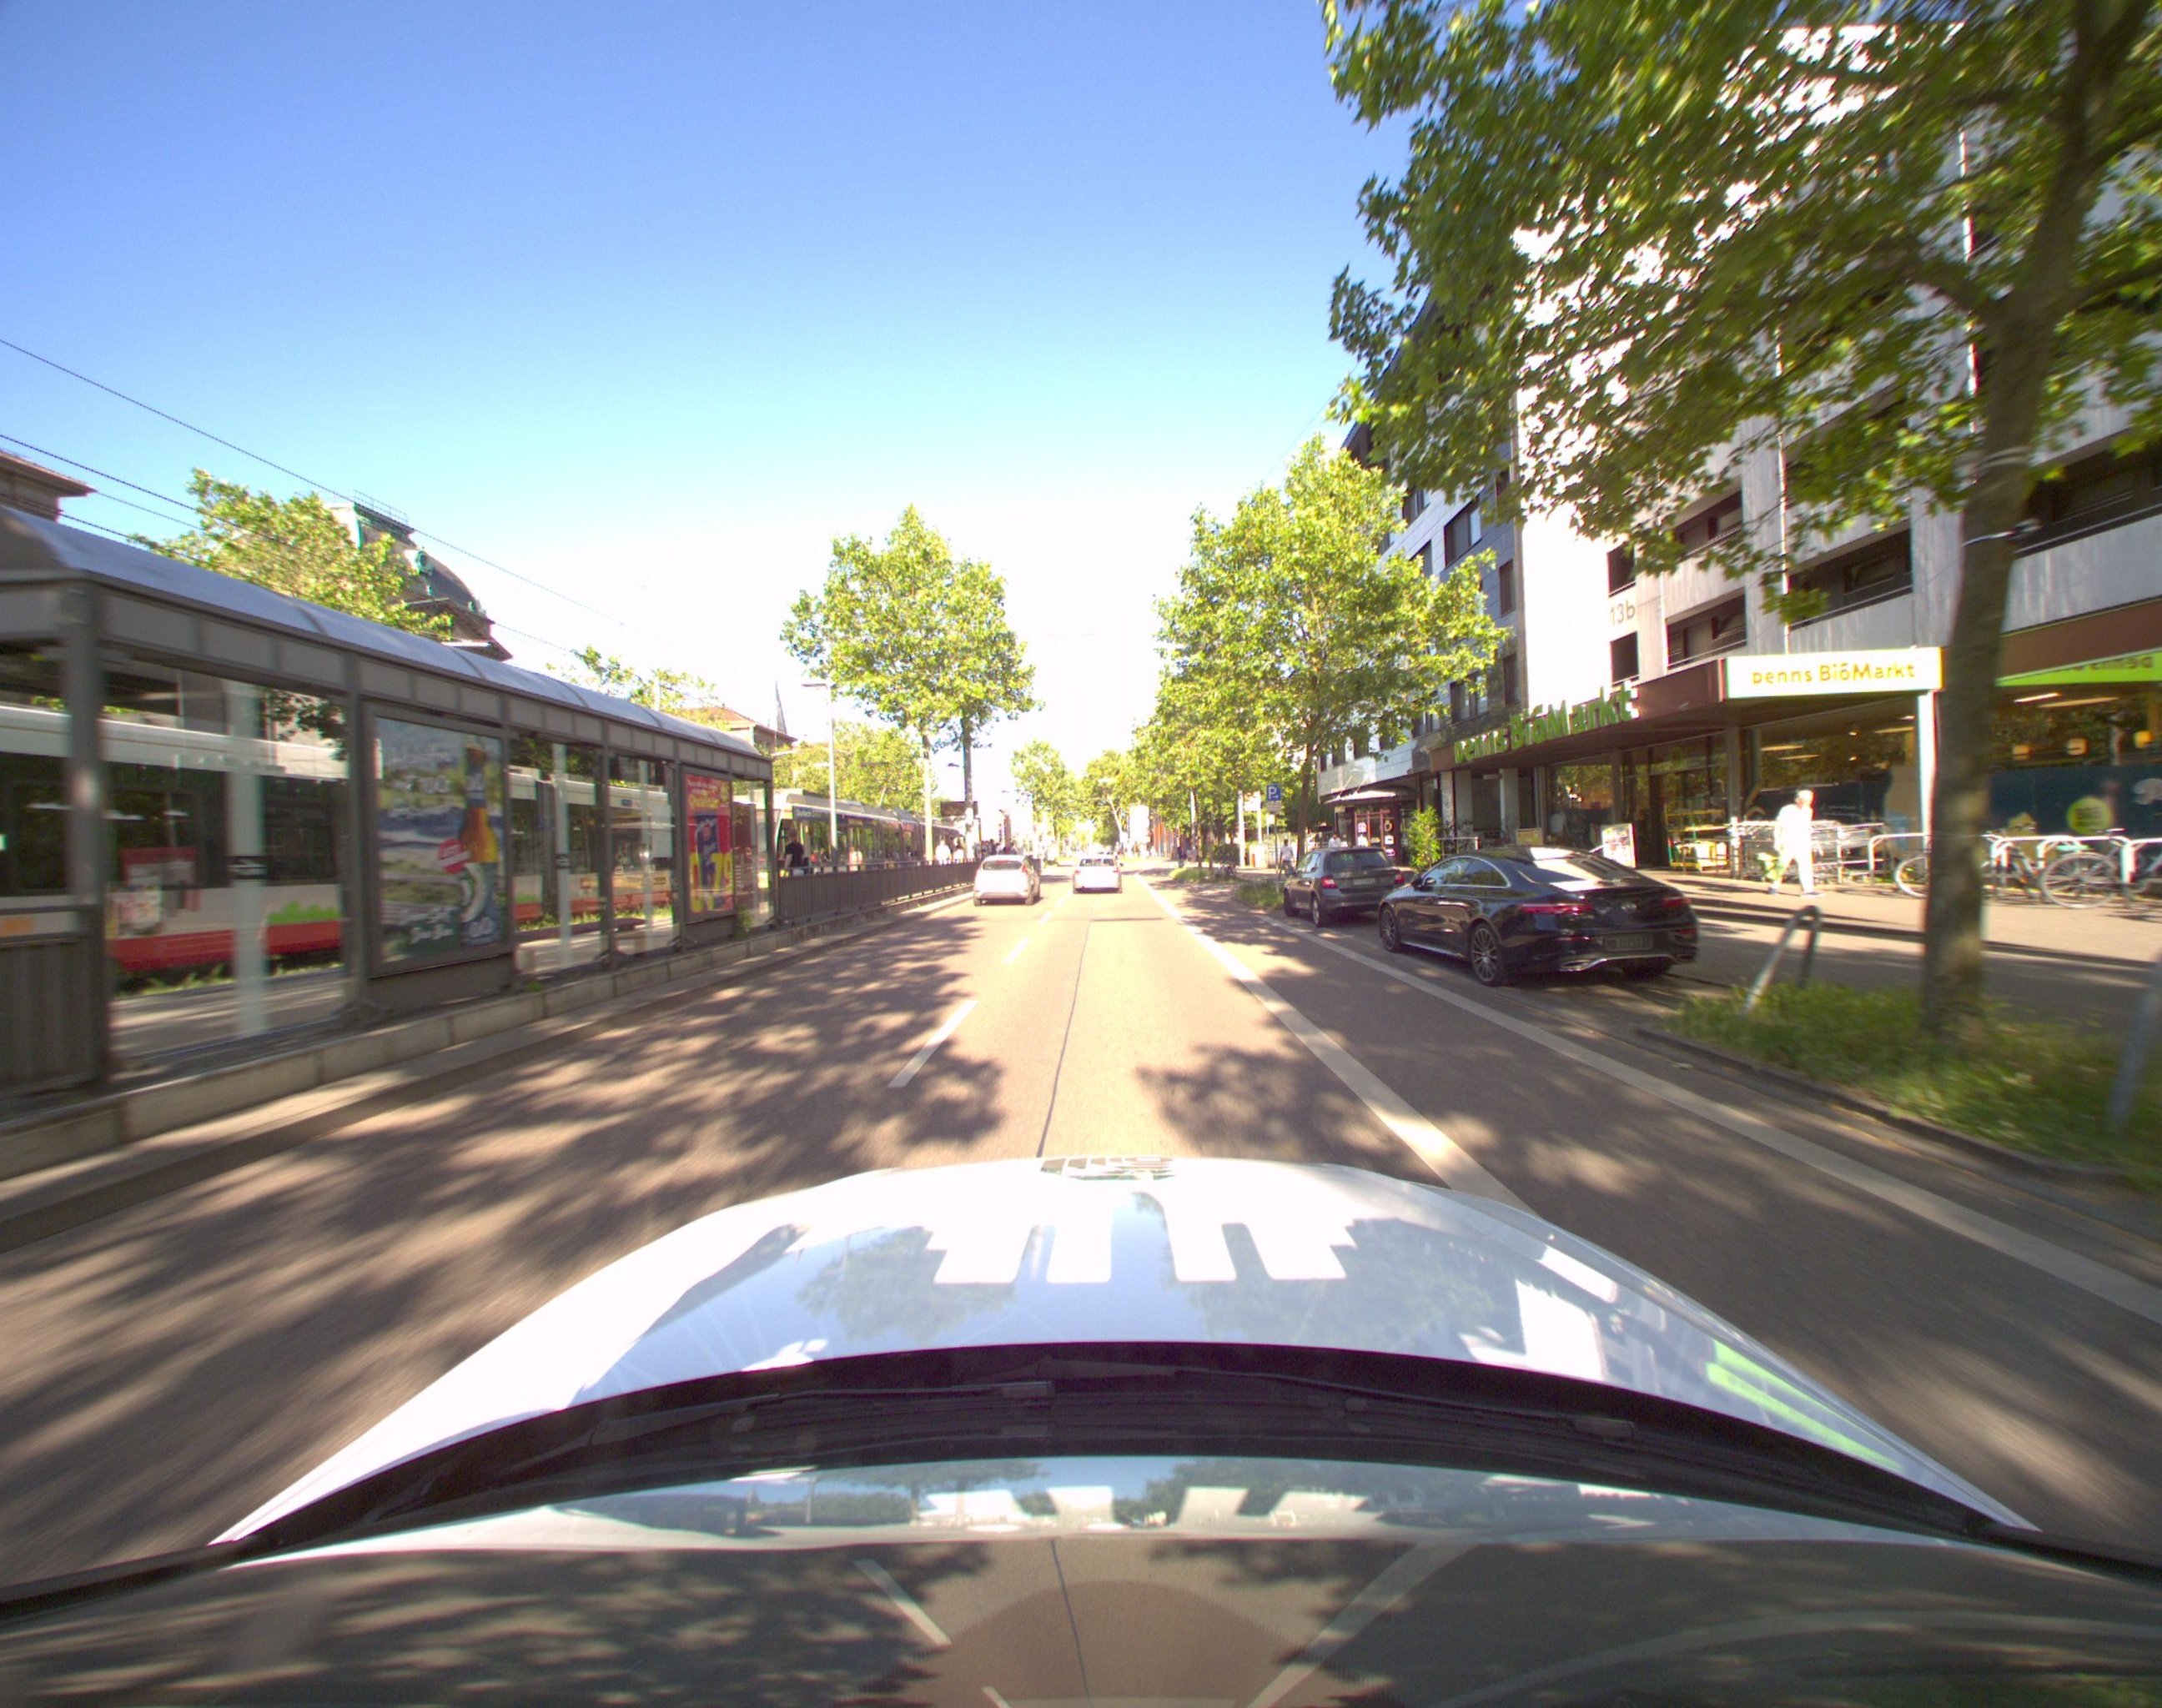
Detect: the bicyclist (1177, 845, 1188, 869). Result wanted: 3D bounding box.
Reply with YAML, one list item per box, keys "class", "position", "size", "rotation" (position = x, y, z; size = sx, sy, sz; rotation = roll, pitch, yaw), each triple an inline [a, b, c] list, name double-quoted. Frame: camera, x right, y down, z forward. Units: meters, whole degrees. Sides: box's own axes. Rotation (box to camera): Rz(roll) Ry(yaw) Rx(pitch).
- class: "bicyclist"
  position: [7.408, 0.210, 59.319]
  size: [0.654, 1.657, 0.767]
  rotation: [-3, 0, 10]

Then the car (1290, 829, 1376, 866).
- class: "car"
  position: [16.356, -0.408, 53.019]
  size: [4.879, 1.984, 1.914]
  rotation: [-5, 0, 1]

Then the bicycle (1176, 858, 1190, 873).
- class: "bicycle"
  position: [7.441, 0.839, 59.226]
  size: [0.826, 1.041, 1.880]
  rotation: [-3, 0, 11]

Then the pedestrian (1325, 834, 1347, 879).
- class: "pedestrian"
  position: [10.056, 0.100, 32.152]
  size: [0.558, 1.744, 0.879]
  rotation: [-3, 0, 1]

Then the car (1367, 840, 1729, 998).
- class: "car"
  position: [5.125, 0.600, 9.852]
  size: [1.755, 1.418, 4.701]
  rotation: [-1, 0, 1]

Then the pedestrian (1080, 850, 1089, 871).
- class: "pedestrian"
  position: [0.300, 0.541, 64.371]
  size: [0.637, 1.619, 0.641]
  rotation: [-2, -3, -2]

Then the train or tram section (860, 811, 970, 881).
- class: "train or tram section"
  position: [-8.614, -0.279, 44.425]
  size: [2.903, 3.260, 13.117]
  rotation: [0, -1, 2]

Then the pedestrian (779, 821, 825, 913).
- class: "pedestrian"
  position: [-5.089, 0.234, 14.869]
  size: [0.564, 1.640, 0.622]
  rotation: [-1, 0, 3]

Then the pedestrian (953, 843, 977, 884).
- class: "pedestrian"
  position: [-4.418, 0.349, 31.058]
  size: [0.773, 1.510, 0.751]
  rotation: [-3, 0, -2]

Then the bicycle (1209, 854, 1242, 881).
- class: "bicycle"
  position: [6.261, 0.573, 35.476]
  size: [0.788, 1.133, 1.839]
  rotation: [-2, 0, -11]

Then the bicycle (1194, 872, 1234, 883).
- class: "bicycle"
  position: [5.881, 1.036, 36.161]
  size: [1.602, 0.353, 1.389]
  rotation: [-2, 0, 2]

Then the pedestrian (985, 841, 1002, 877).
- class: "pedestrian"
  position: [-4.191, 0.241, 39.051]
  size: [0.658, 1.696, 0.571]
  rotation: [-2, 0, 2]

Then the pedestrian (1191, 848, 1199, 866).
- class: "pedestrian"
  position: [10.672, 0.282, 76.157]
  size: [0.622, 1.629, 0.946]
  rotation: [-1, 0, 10]

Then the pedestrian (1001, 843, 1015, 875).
- class: "pedestrian"
  position: [-4.060, 0.282, 45.235]
  size: [0.550, 1.734, 0.535]
  rotation: [-2, 0, -23]

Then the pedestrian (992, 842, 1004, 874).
- class: "pedestrian"
  position: [-4.432, 0.200, 43.534]
  size: [0.504, 1.702, 0.611]
  rotation: [-2, 0, -2]

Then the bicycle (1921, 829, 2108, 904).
- class: "bicycle"
  position: [13.237, 0.185, 11.611]
  size: [1.631, 0.916, 0.589]
  rotation: [-4, 2, 28]

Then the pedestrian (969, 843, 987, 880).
- class: "pedestrian"
  position: [-4.686, 0.324, 37.087]
  size: [0.658, 1.634, 0.571]
  rotation: [-2, 0, 2]

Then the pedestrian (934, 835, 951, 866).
- class: "pedestrian"
  position: [-5.820, -0.149, 34.257]
  size: [0.532, 1.299, 0.604]
  rotation: [-3, 0, -2]

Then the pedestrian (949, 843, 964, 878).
- class: "pedestrian"
  position: [-6.269, 0.337, 40.940]
  size: [0.607, 1.702, 0.545]
  rotation: [-2, 0, -3]

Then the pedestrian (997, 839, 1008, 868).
- class: "pedestrian"
  position: [-4.647, -0.028, 48.461]
  size: [0.546, 1.734, 0.539]
  rotation: [-2, 0, -2]

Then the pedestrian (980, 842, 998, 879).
- class: "pedestrian"
  position: [-4.290, 0.289, 37.902]
  size: [0.658, 1.696, 0.571]
  rotation: [-2, 0, 2]

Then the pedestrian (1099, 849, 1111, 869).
- class: "pedestrian"
  position: [1.938, 0.417, 65.291]
  size: [0.824, 1.575, 0.741]
  rotation: [-1, -1, 9]

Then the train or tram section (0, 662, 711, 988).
- class: "train or tram section"
  position: [-12.546, -0.309, 14.624]
  size: [2.838, 3.434, 18.224]
  rotation: [-1, 0, 2]

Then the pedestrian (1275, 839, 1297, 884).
- class: "pedestrian"
  position: [8.014, 0.287, 31.843]
  size: [0.558, 1.704, 1.052]
  rotation: [-3, 0, 1]

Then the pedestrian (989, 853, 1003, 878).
- class: "pedestrian"
  position: [-4.165, 0.557, 39.874]
  size: [0.543, 1.192, 0.531]
  rotation: [-2, 0, 1]

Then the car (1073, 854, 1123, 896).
- class: "car"
  position: [0.642, 0.732, 30.492]
  size: [1.724, 1.390, 3.841]
  rotation: [-1, 1, 1]

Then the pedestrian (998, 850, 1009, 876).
- class: "pedestrian"
  position: [-3.899, 0.455, 41.046]
  size: [0.414, 1.316, 0.507]
  rotation: [-2, 0, 0]

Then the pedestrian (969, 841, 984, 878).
- class: "pedestrian"
  position: [-4.959, 0.246, 38.634]
  size: [0.513, 1.708, 0.621]
  rotation: [-2, 0, 1]

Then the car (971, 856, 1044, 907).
- class: "car"
  position: [-2.113, 0.771, 24.355]
  size: [1.654, 1.409, 3.634]
  rotation: [-1, 0, 3]

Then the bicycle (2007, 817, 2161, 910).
- class: "bicycle"
  position: [13.005, 0.120, 10.233]
  size: [1.683, 1.055, 0.589]
  rotation: [-4, 3, 28]

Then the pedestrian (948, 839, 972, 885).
- class: "pedestrian"
  position: [-4.796, 0.313, 32.383]
  size: [0.773, 1.752, 0.723]
  rotation: [-3, 0, -2]

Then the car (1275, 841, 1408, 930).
- class: "car"
  position: [5.172, 0.573, 16.704]
  size: [1.559, 1.550, 4.002]
  rotation: [-2, 0, 2]

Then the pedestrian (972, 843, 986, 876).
- class: "pedestrian"
  position: [-5.208, 0.299, 41.689]
  size: [0.617, 1.649, 0.622]
  rotation: [-2, 0, -2]

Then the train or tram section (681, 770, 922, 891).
- class: "train or tram section"
  position: [-9.092, -0.513, 29.927]
  size: [2.903, 3.260, 15.898]
  rotation: [0, -1, 2]

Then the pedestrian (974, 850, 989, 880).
- class: "pedestrian"
  position: [-4.196, 0.473, 34.419]
  size: [0.532, 1.246, 0.604]
  rotation: [-3, 0, 0]

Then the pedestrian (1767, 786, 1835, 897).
- class: "pedestrian"
  position: [11.655, -0.208, 13.179]
  size: [0.616, 1.715, 0.607]
  rotation: [-6, 2, -33]
